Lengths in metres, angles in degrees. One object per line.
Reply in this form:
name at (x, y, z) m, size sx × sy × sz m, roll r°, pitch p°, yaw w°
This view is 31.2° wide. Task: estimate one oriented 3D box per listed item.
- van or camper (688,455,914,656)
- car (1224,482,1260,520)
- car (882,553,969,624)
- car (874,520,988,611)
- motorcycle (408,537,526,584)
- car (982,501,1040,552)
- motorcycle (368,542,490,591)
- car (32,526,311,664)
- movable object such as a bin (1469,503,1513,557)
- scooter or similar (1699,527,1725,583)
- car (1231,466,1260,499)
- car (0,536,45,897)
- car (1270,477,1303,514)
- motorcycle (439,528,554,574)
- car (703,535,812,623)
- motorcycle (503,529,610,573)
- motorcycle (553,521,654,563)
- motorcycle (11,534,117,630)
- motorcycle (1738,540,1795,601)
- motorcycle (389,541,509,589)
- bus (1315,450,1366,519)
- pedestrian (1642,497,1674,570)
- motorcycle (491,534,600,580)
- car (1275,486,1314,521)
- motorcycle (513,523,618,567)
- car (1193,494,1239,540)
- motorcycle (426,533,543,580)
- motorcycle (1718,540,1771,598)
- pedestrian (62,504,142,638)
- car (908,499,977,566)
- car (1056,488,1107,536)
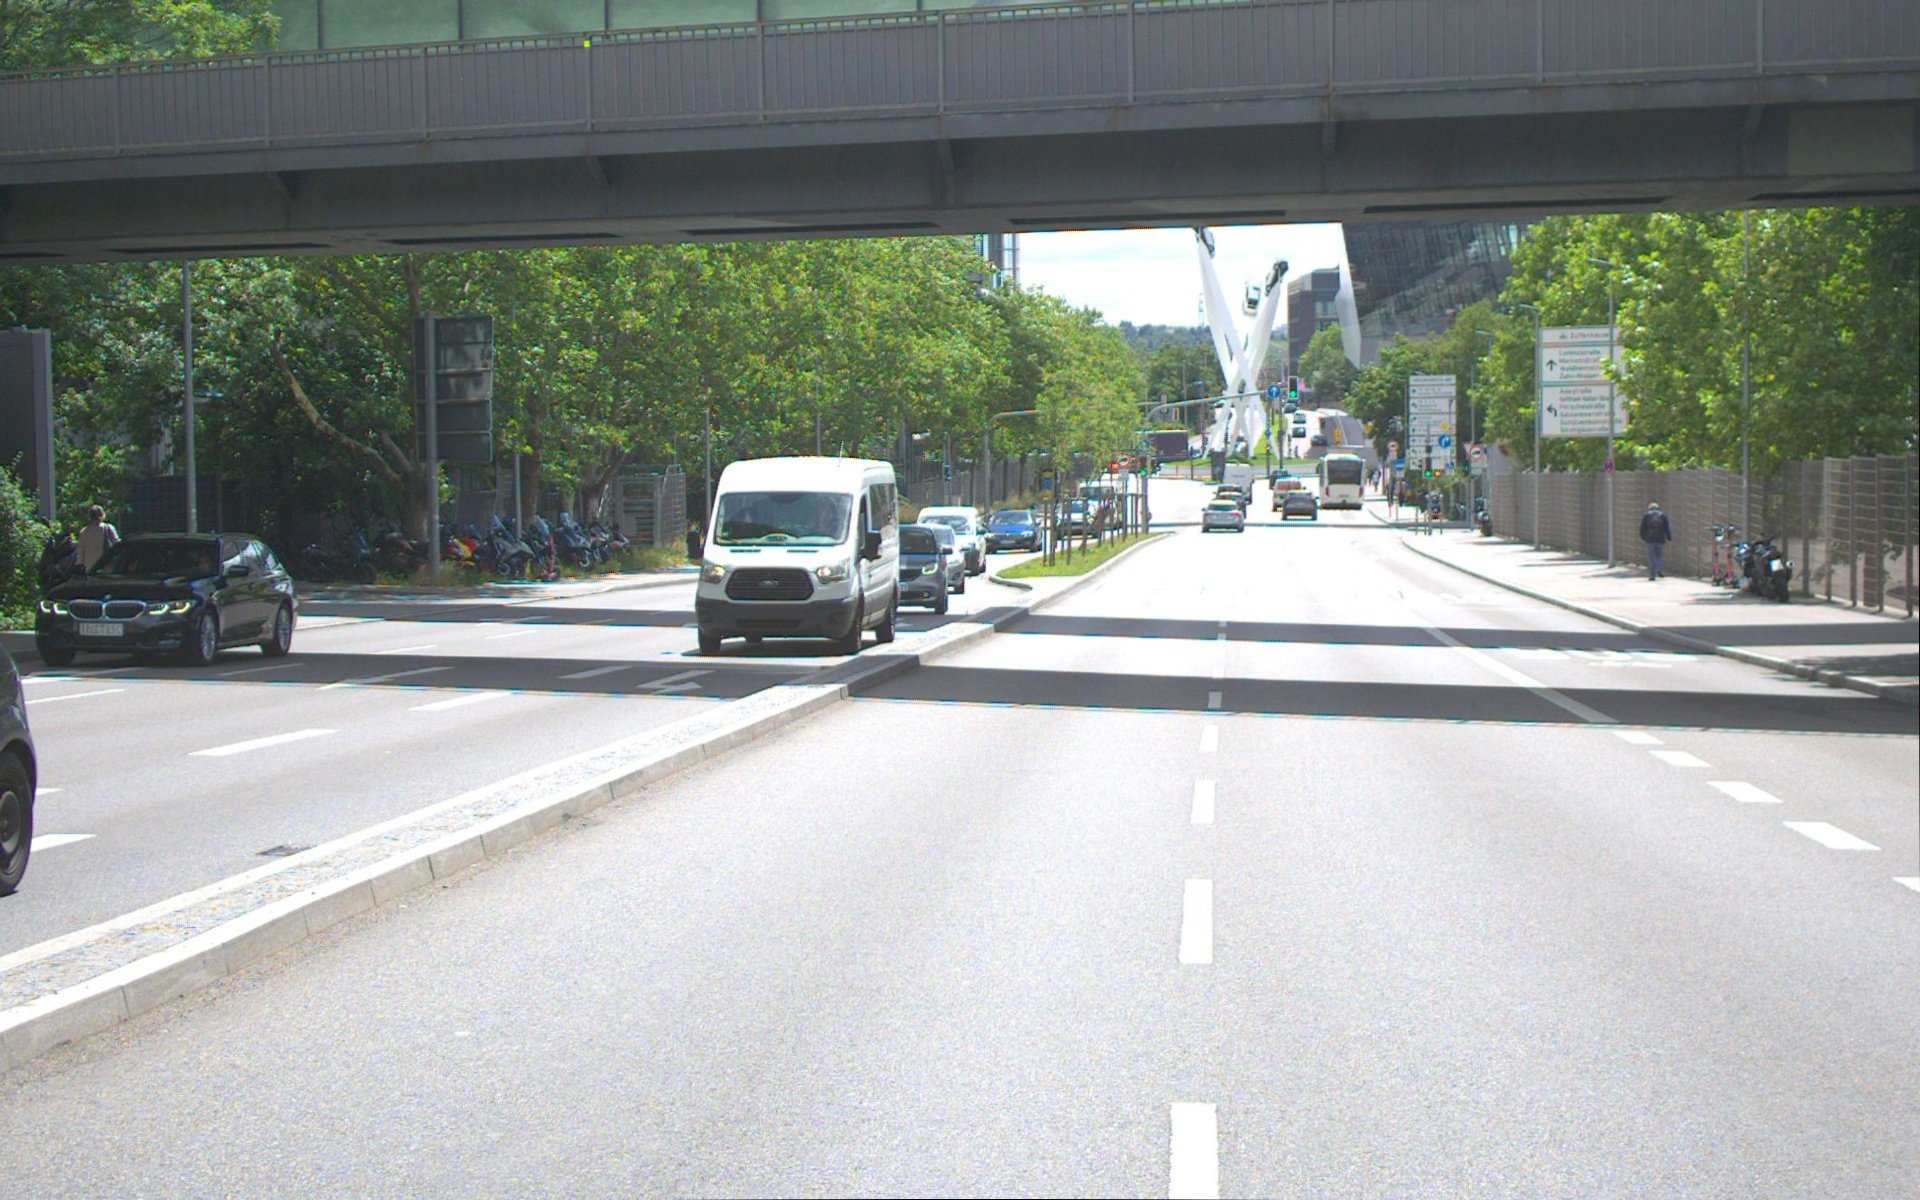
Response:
van or camper at (-1.939, -0.597, 44.176) m, size 2.008 × 2.393 × 6.397 m, roll 0°, pitch 1°, yaw 5°
car at (15.333, -5.389, 187.333) m, size 1.858 × 1.699 × 4.001 m, roll -1°, pitch 7°, yaw 3°
car at (-0.711, -0.265, 73.253) m, size 1.701 × 1.431 × 3.924 m, roll 0°, pitch 1°, yaw 1°
car at (-0.476, -0.616, 59.611) m, size 1.701 × 1.516 × 3.074 m, roll 0°, pitch 1°, yaw 5°
motorcycle at (-11.091, -0.888, 77.405) m, size 2.553 × 1.047 × 0.674 m, roll 0°, pitch 1°, yaw 11°
car at (1.755, -2.510, 116.685) m, size 1.701 × 1.692 × 3.924 m, roll 0°, pitch 1°, yaw 4°
motorcycle at (-11.593, -0.740, 75.041) m, size 2.553 × 1.047 × 0.674 m, roll 0°, pitch 1°, yaw 11°
car at (-8.767, -0.079, 38.627) m, size 1.731 × 1.451 × 4.557 m, roll 0°, pitch 1°, yaw 5°
movable object such as a bin at (21.006, -2.786, 135.915) m, size 1.665 × 2.125 × 1.277 m, roll 0°, pitch 1°, yaw 10°
scooter or similar at (15.919, -0.965, 72.761) m, size 0.368 × 1.173 × 1.133 m, roll 0°, pitch 1°, yaw 4°
car at (18.930, -7.811, 228.175) m, size 1.874 × 2.006 × 3.694 m, roll 0°, pitch 5°, yaw 4°
car at (-4.817, 0.512, 12.756) m, size 1.637 × 1.466 × 3.776 m, roll 0°, pitch 2°, yaw 4°
car at (19.892, -6.367, 209.587) m, size 1.994 × 2.006 × 4.001 m, roll 0°, pitch 5°, yaw 5°
motorcycle at (-10.784, -1.141, 79.982) m, size 2.553 × 1.047 × 0.674 m, roll 0°, pitch 1°, yaw 11°
car at (-3.728, -0.416, 63.798) m, size 1.701 × 1.545 × 3.924 m, roll 0°, pitch 1°, yaw 1°
motorcycle at (-10.142, -1.240, 86.464) m, size 2.579 × 1.103 × 0.794 m, roll 0°, pitch 1°, yaw 17°
motorcycle at (-9.458, -1.531, 91.243) m, size 2.579 × 1.103 × 0.794 m, roll 0°, pitch 1°, yaw 17°
motorcycle at (-11.799, -0.225, 45.330) m, size 0.687 × 1.206 × 2.072 m, roll 2°, pitch -1°, yaw 4°
motorcycle at (14.696, -0.543, 62.704) m, size 0.563 × 1.025 × 2.629 m, roll -1°, pitch 2°, yaw 4°
motorcycle at (-11.335, -0.773, 76.242) m, size 2.553 × 1.047 × 0.674 m, roll 0°, pitch 1°, yaw 11°
bus at (24.178, -7.382, 218.525) m, size 2.797 × 3.739 × 9.471 m, roll 0°, pitch 6°, yaw 4°
pedestrian at (16.036, -1.527, 79.013) m, size 0.620 × 1.612 × 0.747 m, roll 0°, pitch 5°, yaw 3°
motorcycle at (-10.211, -1.069, 84.700) m, size 2.579 × 1.103 × 0.794 m, roll 0°, pitch 1°, yaw 17°
car at (18.131, -5.215, 186.431) m, size 1.994 × 1.853 × 4.000 m, roll 0°, pitch 1°, yaw 4°
motorcycle at (-10.118, -1.411, 88.226) m, size 2.579 × 1.103 × 0.794 m, roll 0°, pitch 1°, yaw 17°
car at (11.577, -3.766, 155.149) m, size 1.930 × 1.765 × 4.001 m, roll 0°, pitch 6°, yaw 6°
motorcycle at (-10.869, -1.004, 78.572) m, size 2.553 × 1.047 × 0.674 m, roll 0°, pitch 1°, yaw 11°
motorcycle at (14.984, -0.607, 65.739) m, size 0.563 × 1.025 × 2.629 m, roll -1°, pitch 2°, yaw 4°
pedestrian at (-11.023, -0.381, 44.167) m, size 0.724 × 1.617 × 0.720 m, roll 5°, pitch 5°, yaw 3°
car at (-0.445, -1.779, 90.216) m, size 1.701 × 1.692 × 3.924 m, roll 0°, pitch 1°, yaw 1°
car at (5.177, -3.744, 145.870) m, size 1.994 × 2.006 × 4.000 m, roll 0°, pitch 2°, yaw 5°
